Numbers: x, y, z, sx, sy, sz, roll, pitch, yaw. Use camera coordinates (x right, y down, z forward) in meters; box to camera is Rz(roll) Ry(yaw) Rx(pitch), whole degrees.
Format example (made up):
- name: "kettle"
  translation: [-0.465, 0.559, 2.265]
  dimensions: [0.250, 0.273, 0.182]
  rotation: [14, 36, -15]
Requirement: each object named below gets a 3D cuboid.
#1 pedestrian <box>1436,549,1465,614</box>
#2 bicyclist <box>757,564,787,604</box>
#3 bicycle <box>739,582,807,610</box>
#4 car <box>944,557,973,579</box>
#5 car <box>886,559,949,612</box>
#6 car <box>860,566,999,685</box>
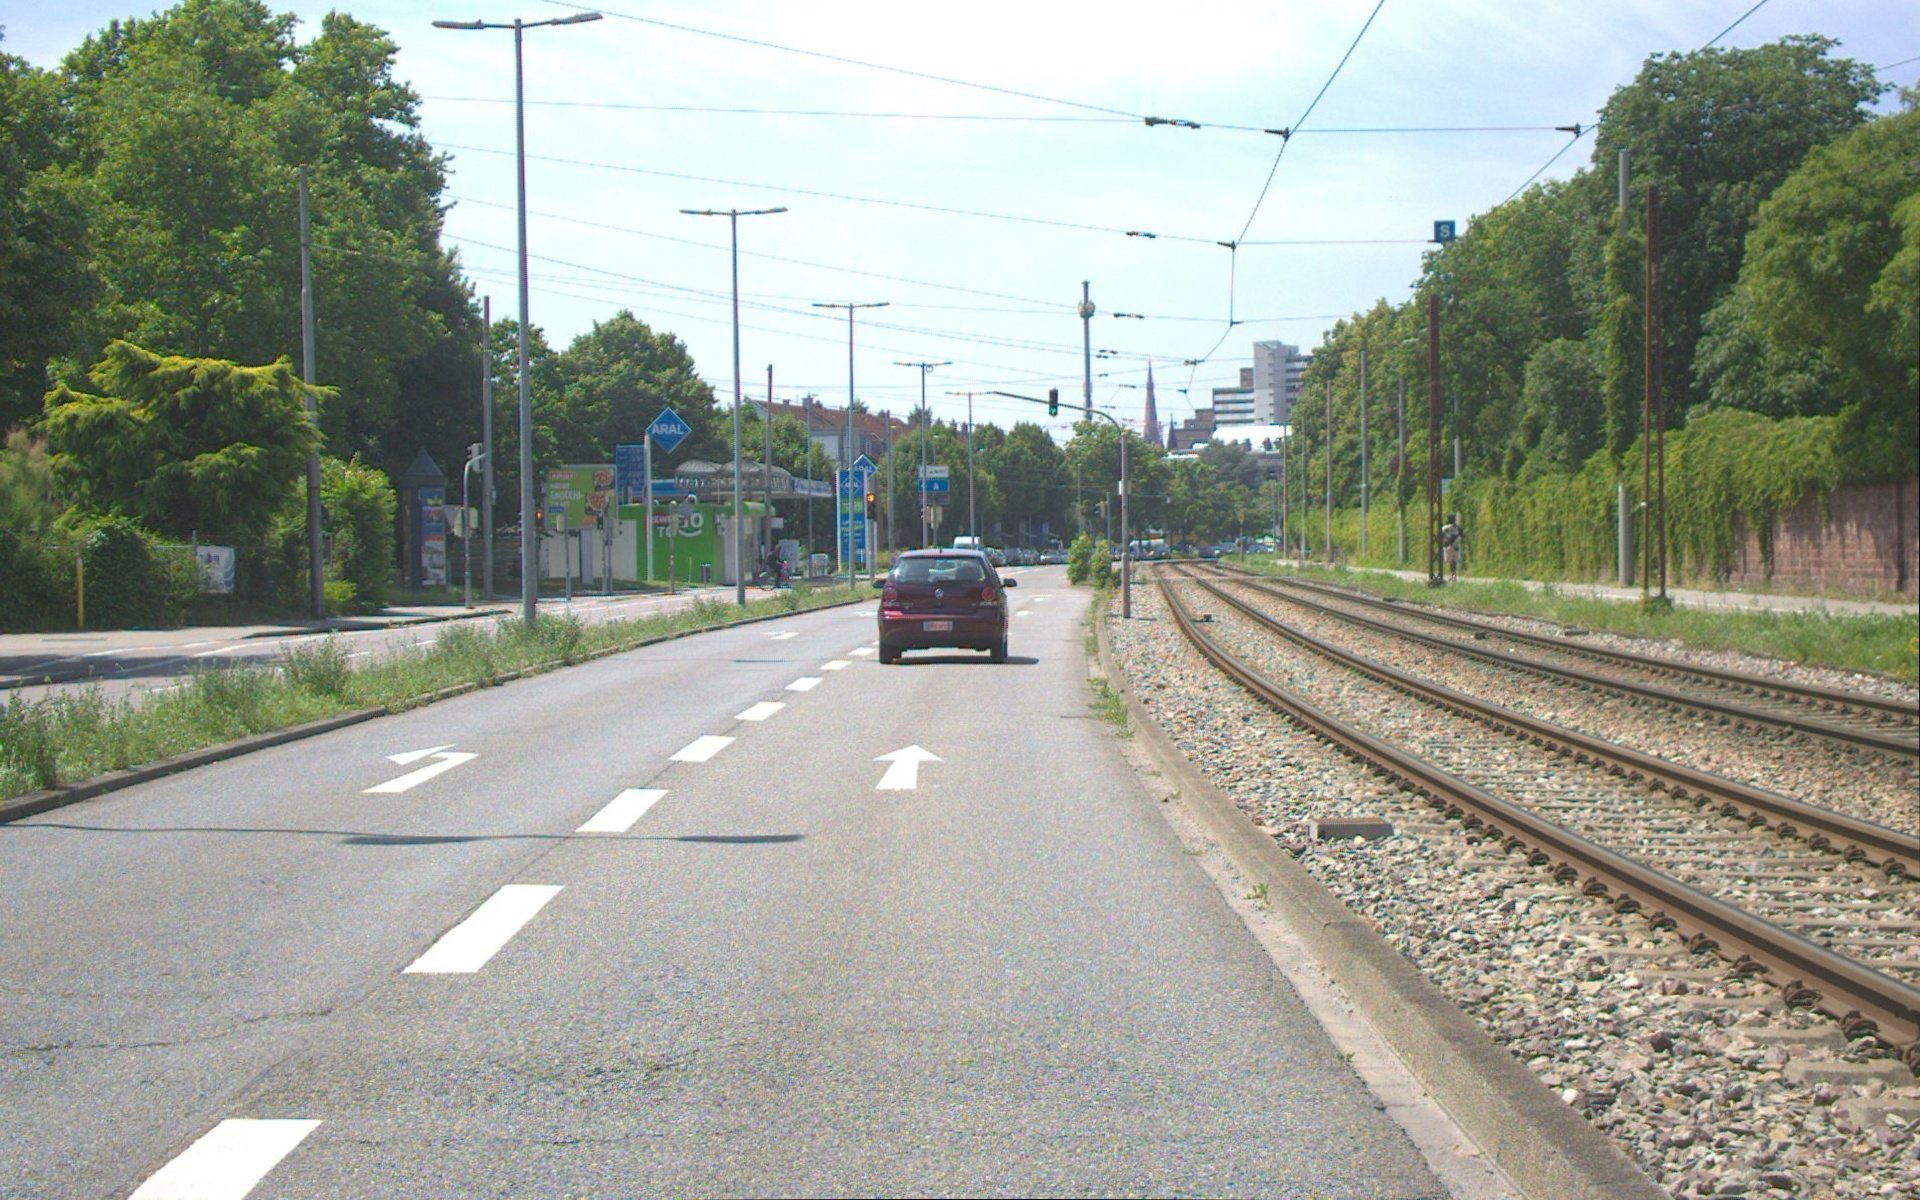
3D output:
- name: "pedestrian"
  translation: [13.027, -0.489, 91.249]
  dimensions: [0.661, 1.720, 0.816]
  rotation: [0, 0, 2]
- name: "bicyclist"
  translation: [-7.468, -0.632, 136.542]
  dimensions: [0.944, 1.588, 1.088]
  rotation: [1, -1, -13]
- name: "bicycle"
  translation: [-7.425, -0.162, 136.519]
  dimensions: [2.549, 1.034, 1.088]
  rotation: [1, -1, -13]
- name: "car"
  translation: [-0.150, -2.395, 258.422]
  dimensions: [1.993, 1.590, 4.000]
  rotation: [1, -1, -2]
- name: "car"
  translation: [-1.249, -0.405, 100.229]
  dimensions: [1.702, 1.475, 3.716]
  rotation: [2, 0, -2]
- name: "car"
  translation: [-0.360, 0.301, 44.886]
  dimensions: [1.703, 1.472, 3.716]
  rotation: [0, 1, 1]
